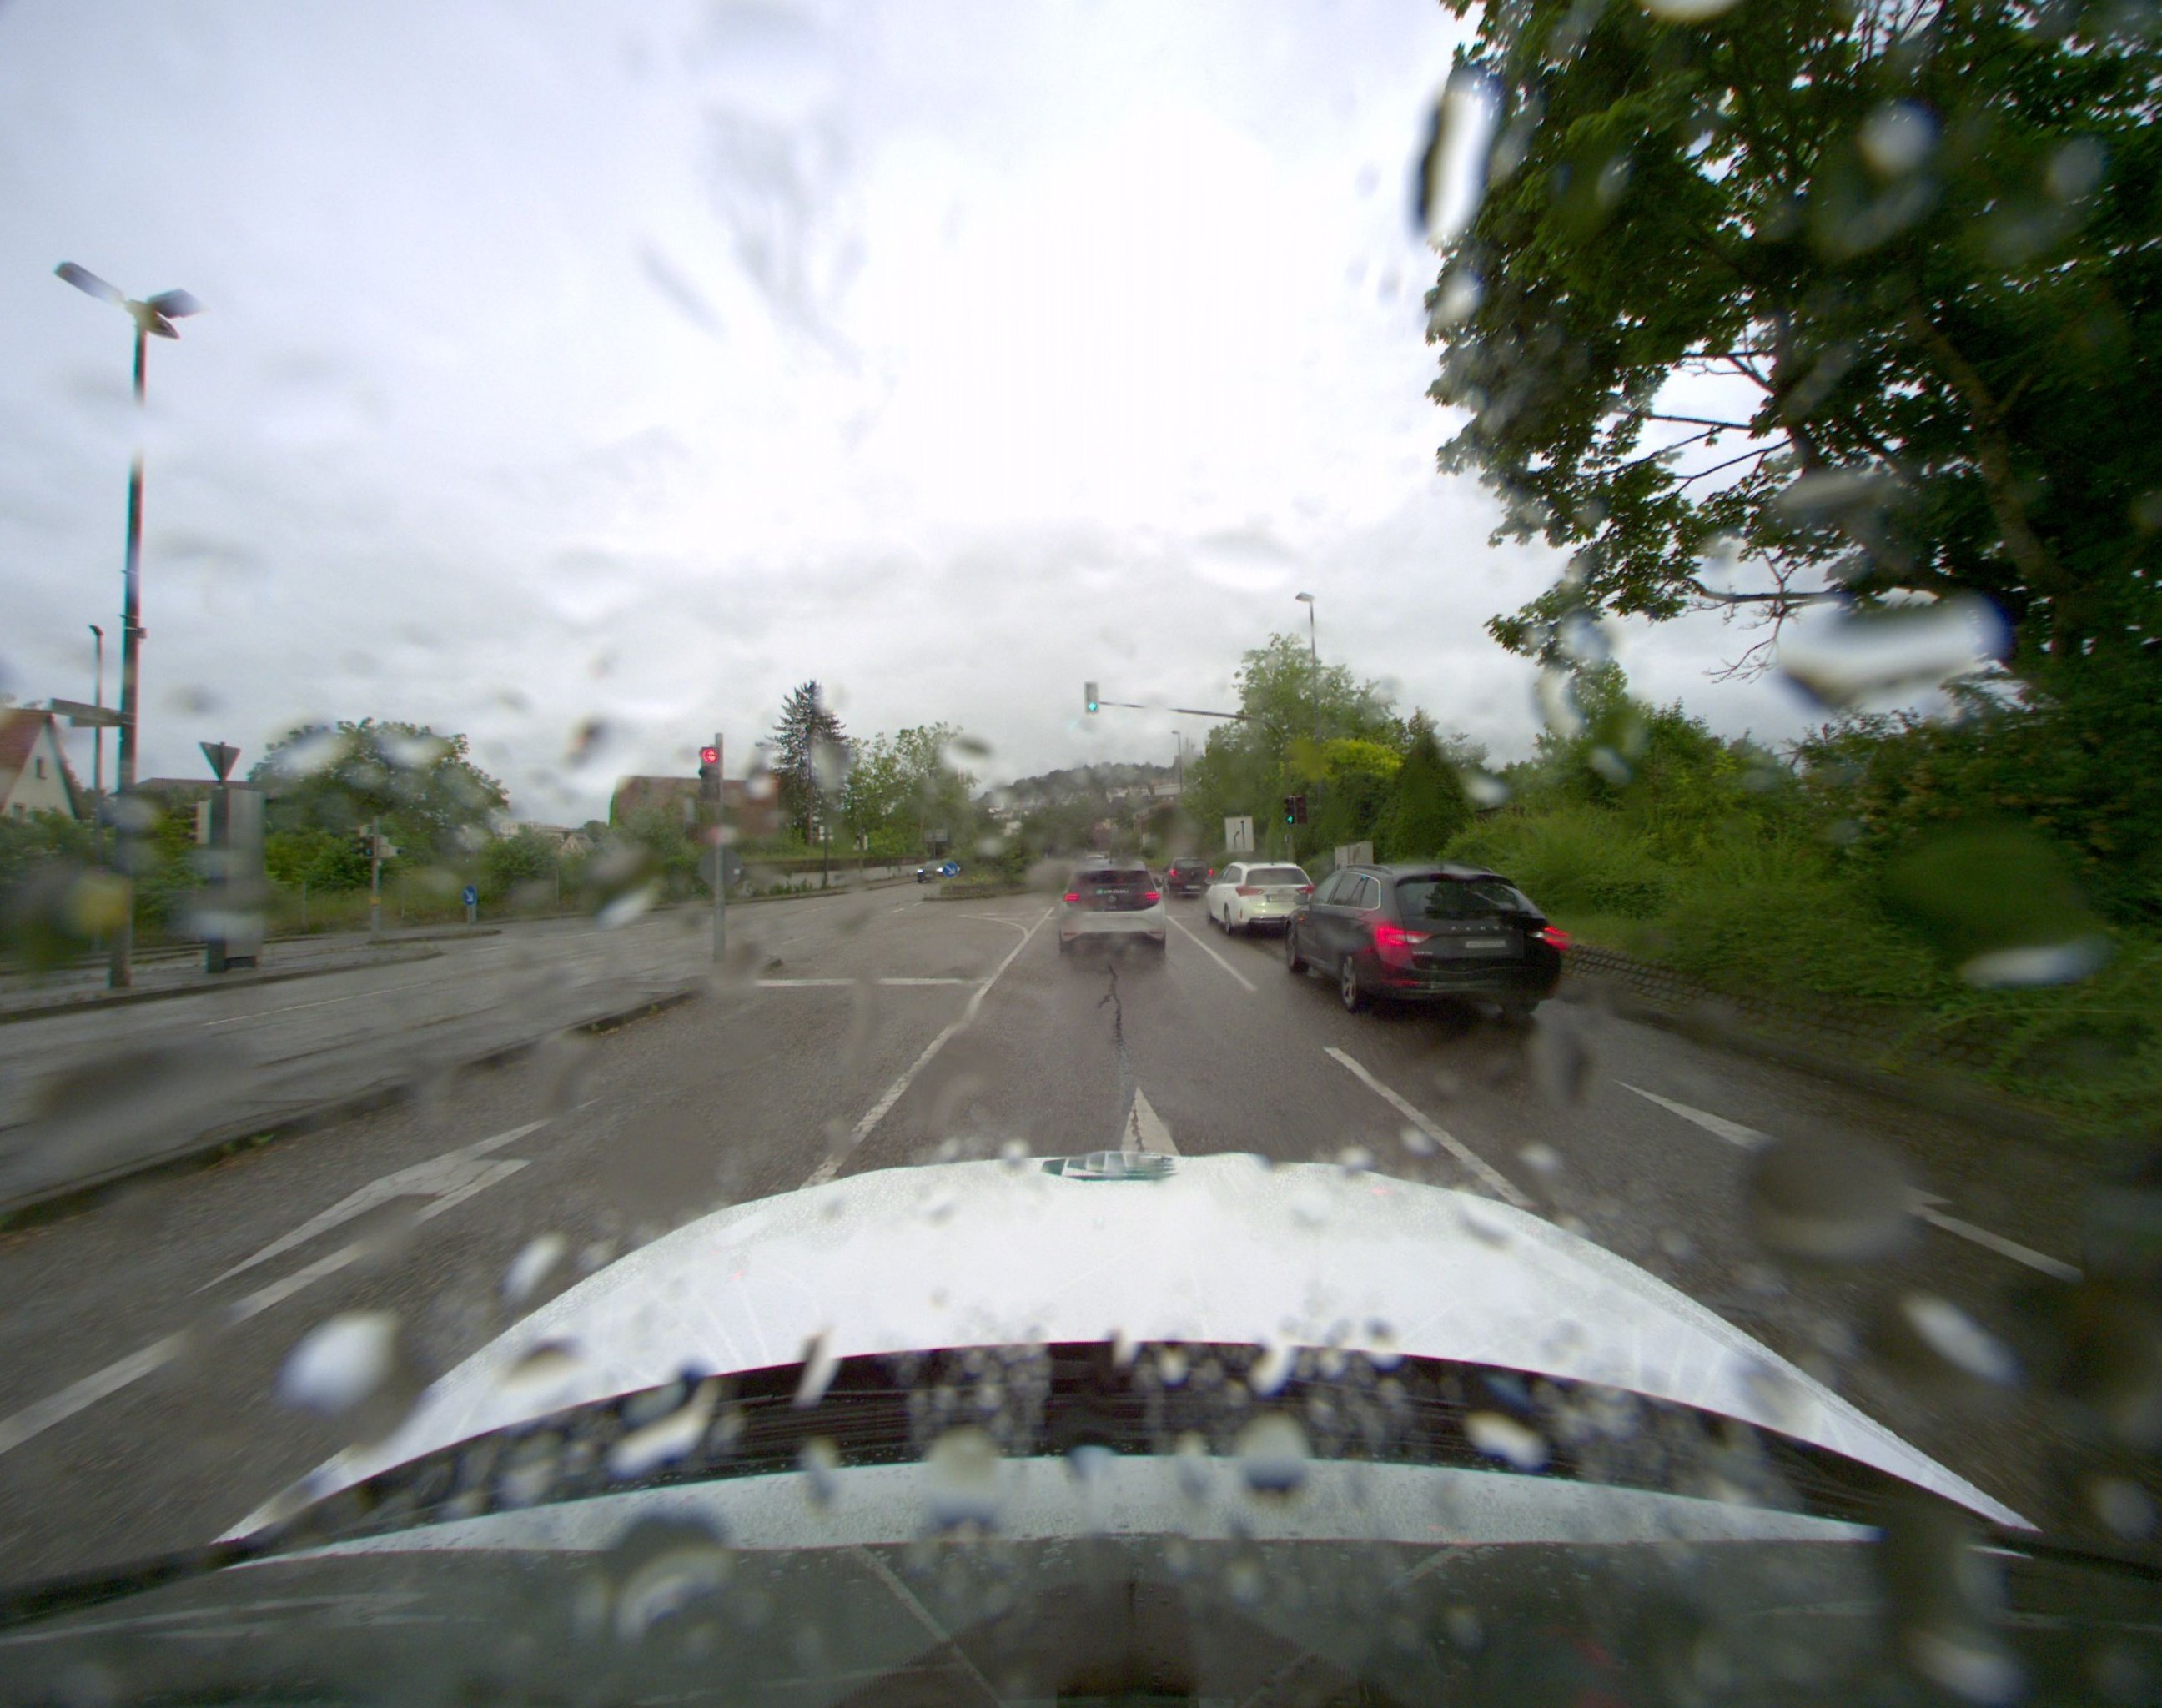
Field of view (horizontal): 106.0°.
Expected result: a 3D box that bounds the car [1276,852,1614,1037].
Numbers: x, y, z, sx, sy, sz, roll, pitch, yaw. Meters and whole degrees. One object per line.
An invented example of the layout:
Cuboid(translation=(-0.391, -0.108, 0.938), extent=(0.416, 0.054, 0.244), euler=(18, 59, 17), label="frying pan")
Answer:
Cuboid(translation=(3.578, 0.779, 9.092), extent=(1.946, 1.507, 4.612), euler=(1, -1, 3), label="car")

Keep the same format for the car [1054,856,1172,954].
Cuboid(translation=(0.558, 0.831, 14.869), extent=(1.822, 1.500, 4.169), euler=(-1, -1, 1), label="car")

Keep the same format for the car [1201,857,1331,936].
Cuboid(translation=(3.729, 0.812, 17.135), extent=(1.841, 1.410, 4.303), euler=(-1, -1, 1), label="car")

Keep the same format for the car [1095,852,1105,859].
Cuboid(translation=(3.703, 0.309, 160.789), extent=(1.732, 1.464, 3.998), euler=(0, -1, -1), label="car")

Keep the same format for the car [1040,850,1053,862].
Cuboid(translation=(-5.787, 0.322, 136.100), extent=(1.987, 2.014, 3.998), euler=(0, -1, -1), label="car")

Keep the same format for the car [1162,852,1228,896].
Cuboid(translation=(4.252, 0.734, 30.907), extent=(1.986, 1.453, 3.772), euler=(-4, -1, 1), label="car")

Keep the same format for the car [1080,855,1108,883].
Cuboid(translation=(1.005, 1.109, 60.309), extent=(1.986, 2.014, 4.001), euler=(-1, -1, 1), label="car")

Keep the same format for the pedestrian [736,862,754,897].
Cuboid(translation=(-16.099, 1.221, 39.019), extent=(0.546, 1.642, 0.503), euler=(-4, -1, 31), label="pedestrian")

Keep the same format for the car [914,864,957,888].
Cuboid(translation=(-9.973, 1.464, 56.063), extent=(1.943, 1.478, 4.297), euler=(-4, -1, 1), label="car")

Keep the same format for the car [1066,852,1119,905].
Cuboid(translation=(0.321, 0.742, 26.617), extent=(1.563, 1.530, 3.998), euler=(-2, 0, -1), label="car")
